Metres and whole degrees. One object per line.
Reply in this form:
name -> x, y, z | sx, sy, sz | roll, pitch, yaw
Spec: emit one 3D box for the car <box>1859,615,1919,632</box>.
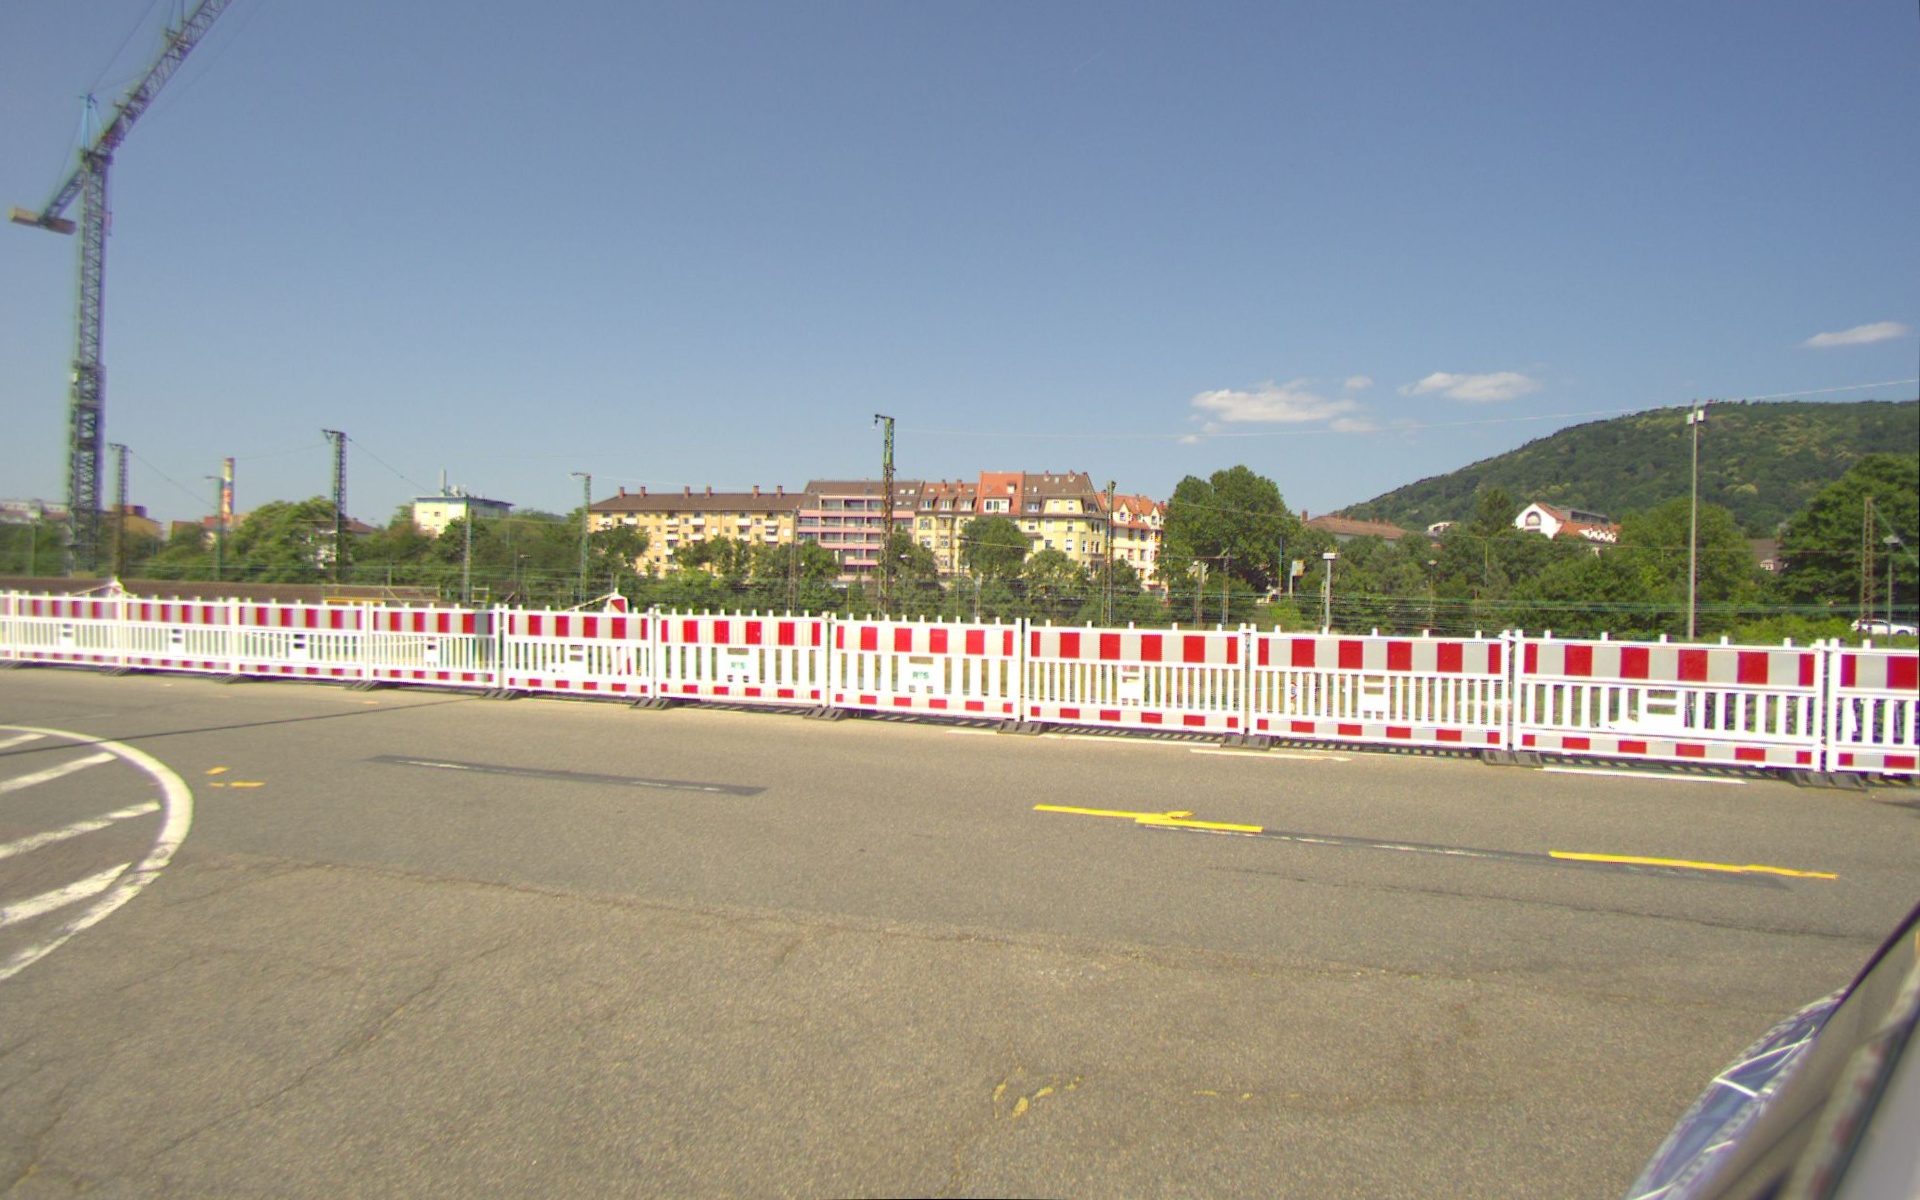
car -> 82.017, 2.079, 88.854 | 1.831, 1.384, 4.315 | 1, 0, -36
